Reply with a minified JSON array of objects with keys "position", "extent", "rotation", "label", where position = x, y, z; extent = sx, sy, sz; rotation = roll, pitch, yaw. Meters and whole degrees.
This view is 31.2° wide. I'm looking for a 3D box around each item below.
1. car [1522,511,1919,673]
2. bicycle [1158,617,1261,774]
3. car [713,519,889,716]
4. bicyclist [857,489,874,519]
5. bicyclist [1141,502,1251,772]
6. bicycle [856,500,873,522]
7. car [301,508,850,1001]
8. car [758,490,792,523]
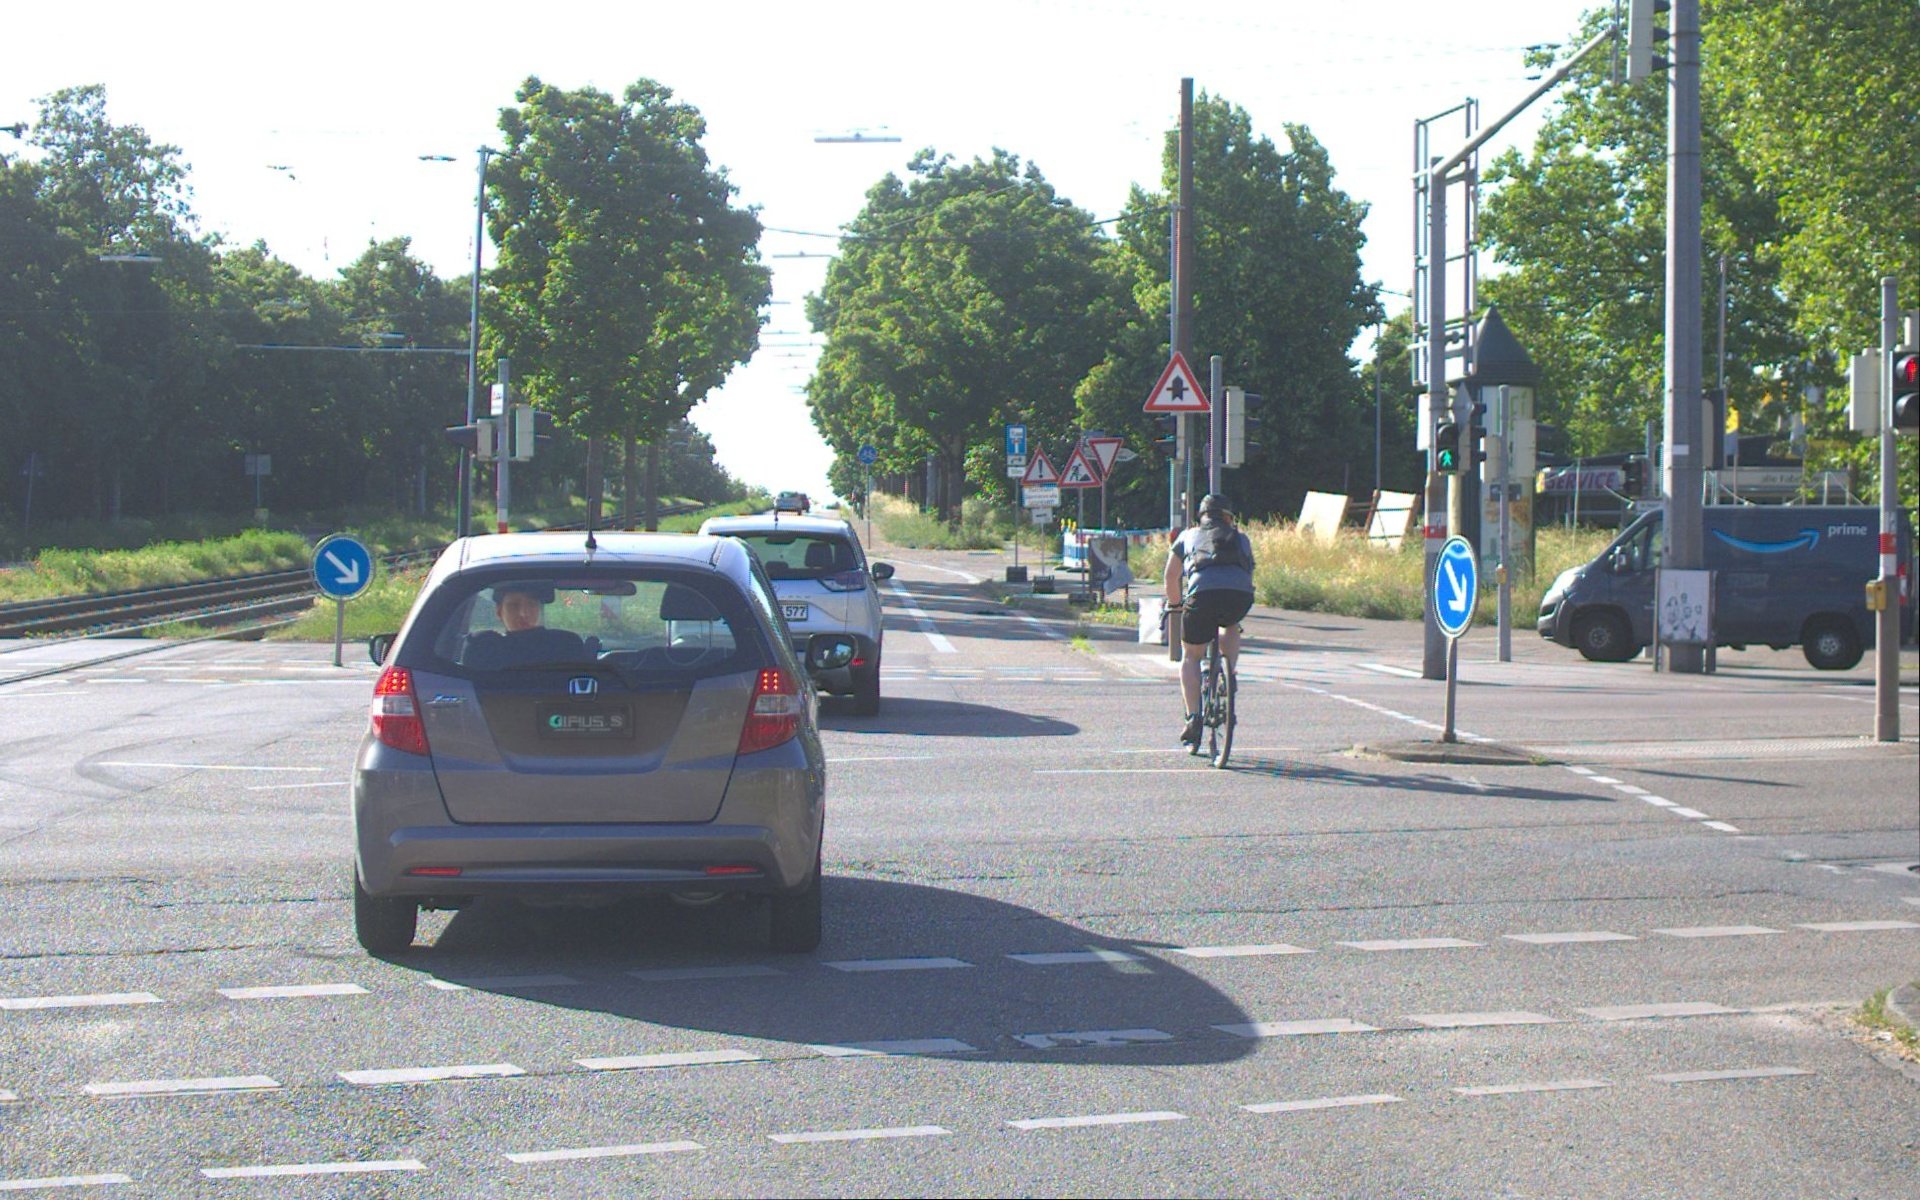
[{"position":[10.384,-0.143,46.557],"extent":[5.108,2.063,2.128],"rotation":[1,1,21],"label":"car"},{"position":[1.589,0.594,22.144],"extent":[0.524,0.920,2.089],"rotation":[0,1,0],"label":"bicycle"},{"position":[-1.263,0.113,28.202],"extent":[1.351,1.522,3.123],"rotation":[0,1,-1],"label":"car"},{"position":[-4.858,-4.916,176.332],"extent":[0.818,1.519,0.966],"rotation":[2,0,-1],"label":"bicyclist"},{"position":[1.489,0.223,21.807],"extent":[0.615,1.674,0.933],"rotation":[0,1,-1],"label":"bicyclist"},{"position":[-4.876,-4.565,176.315],"extent":[0.818,1.044,2.506],"rotation":[2,0,-1],"label":"bicycle"},{"position":[-1.337,0.466,13.246],"extent":[1.670,1.510,3.674],"rotation":[2,2,0],"label":"car"},{"position":[-11.689,-5.888,217.292],"extent":[1.993,2.007,4.000],"rotation":[1,1,-1],"label":"car"}]
